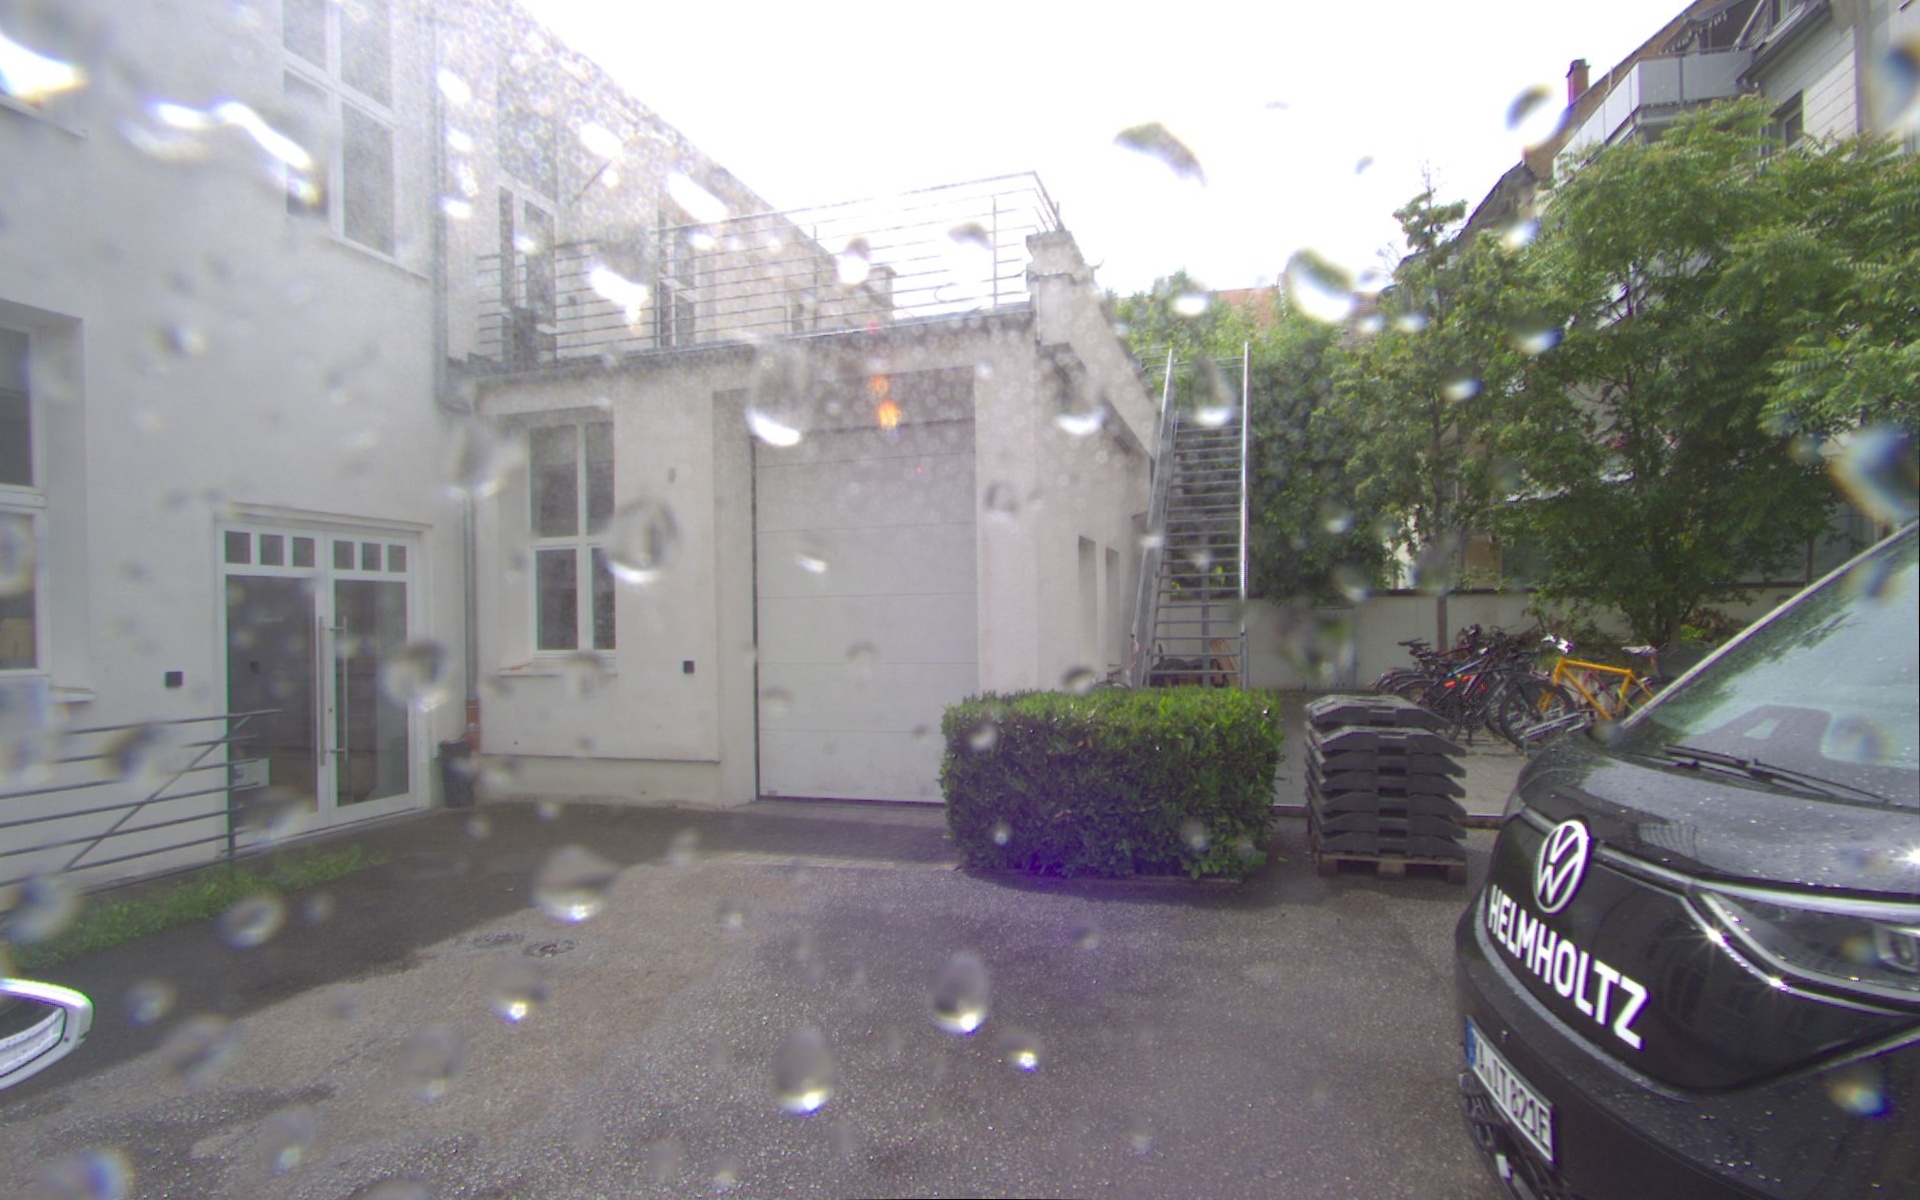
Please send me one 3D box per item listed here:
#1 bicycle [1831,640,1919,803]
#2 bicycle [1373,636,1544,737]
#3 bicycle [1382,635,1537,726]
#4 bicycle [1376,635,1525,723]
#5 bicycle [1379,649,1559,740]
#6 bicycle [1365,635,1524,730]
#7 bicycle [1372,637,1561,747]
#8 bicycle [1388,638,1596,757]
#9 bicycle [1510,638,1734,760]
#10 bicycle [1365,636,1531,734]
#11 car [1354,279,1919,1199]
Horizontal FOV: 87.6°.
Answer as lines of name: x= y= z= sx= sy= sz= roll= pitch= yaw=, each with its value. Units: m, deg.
bicycle: x=7.046 y=0.877 z=7.146 sx=0.438 sy=1.118 sz=1.795 roll=-3 pitch=-1 yaw=14
bicycle: x=5.693 y=0.981 z=11.495 sx=1.722 sy=1.118 sz=0.332 roll=-1 pitch=0 yaw=11
bicycle: x=6.333 y=1.011 z=12.743 sx=1.722 sy=1.118 sz=0.355 roll=-1 pitch=0 yaw=11
bicycle: x=6.397 y=1.022 z=13.113 sx=1.722 sy=1.118 sz=0.342 roll=-1 pitch=0 yaw=11
bicycle: x=5.641 y=1.040 z=11.156 sx=1.762 sy=0.980 sz=0.329 roll=-1 pitch=0 yaw=11
bicycle: x=5.926 y=1.002 z=12.300 sx=1.722 sy=1.118 sz=0.345 roll=-1 pitch=0 yaw=11
bicycle: x=5.383 y=0.961 z=10.726 sx=1.765 sy=1.118 sz=0.354 roll=-1 pitch=0 yaw=19
bicycle: x=5.226 y=0.939 z=9.931 sx=1.765 sy=1.118 sz=0.405 roll=-1 pitch=0 yaw=19
bicycle: x=6.347 y=0.928 z=9.683 sx=1.765 sy=1.118 sz=0.366 roll=-1 pitch=0 yaw=19
bicycle: x=5.744 y=0.992 z=11.843 sx=1.722 sy=1.118 sz=0.342 roll=-1 pitch=0 yaw=11
car: x=3.366 y=0.538 z=1.709 sx=4.658 sy=1.889 sz=1.970 roll=-2 pitch=-1 yaw=10
